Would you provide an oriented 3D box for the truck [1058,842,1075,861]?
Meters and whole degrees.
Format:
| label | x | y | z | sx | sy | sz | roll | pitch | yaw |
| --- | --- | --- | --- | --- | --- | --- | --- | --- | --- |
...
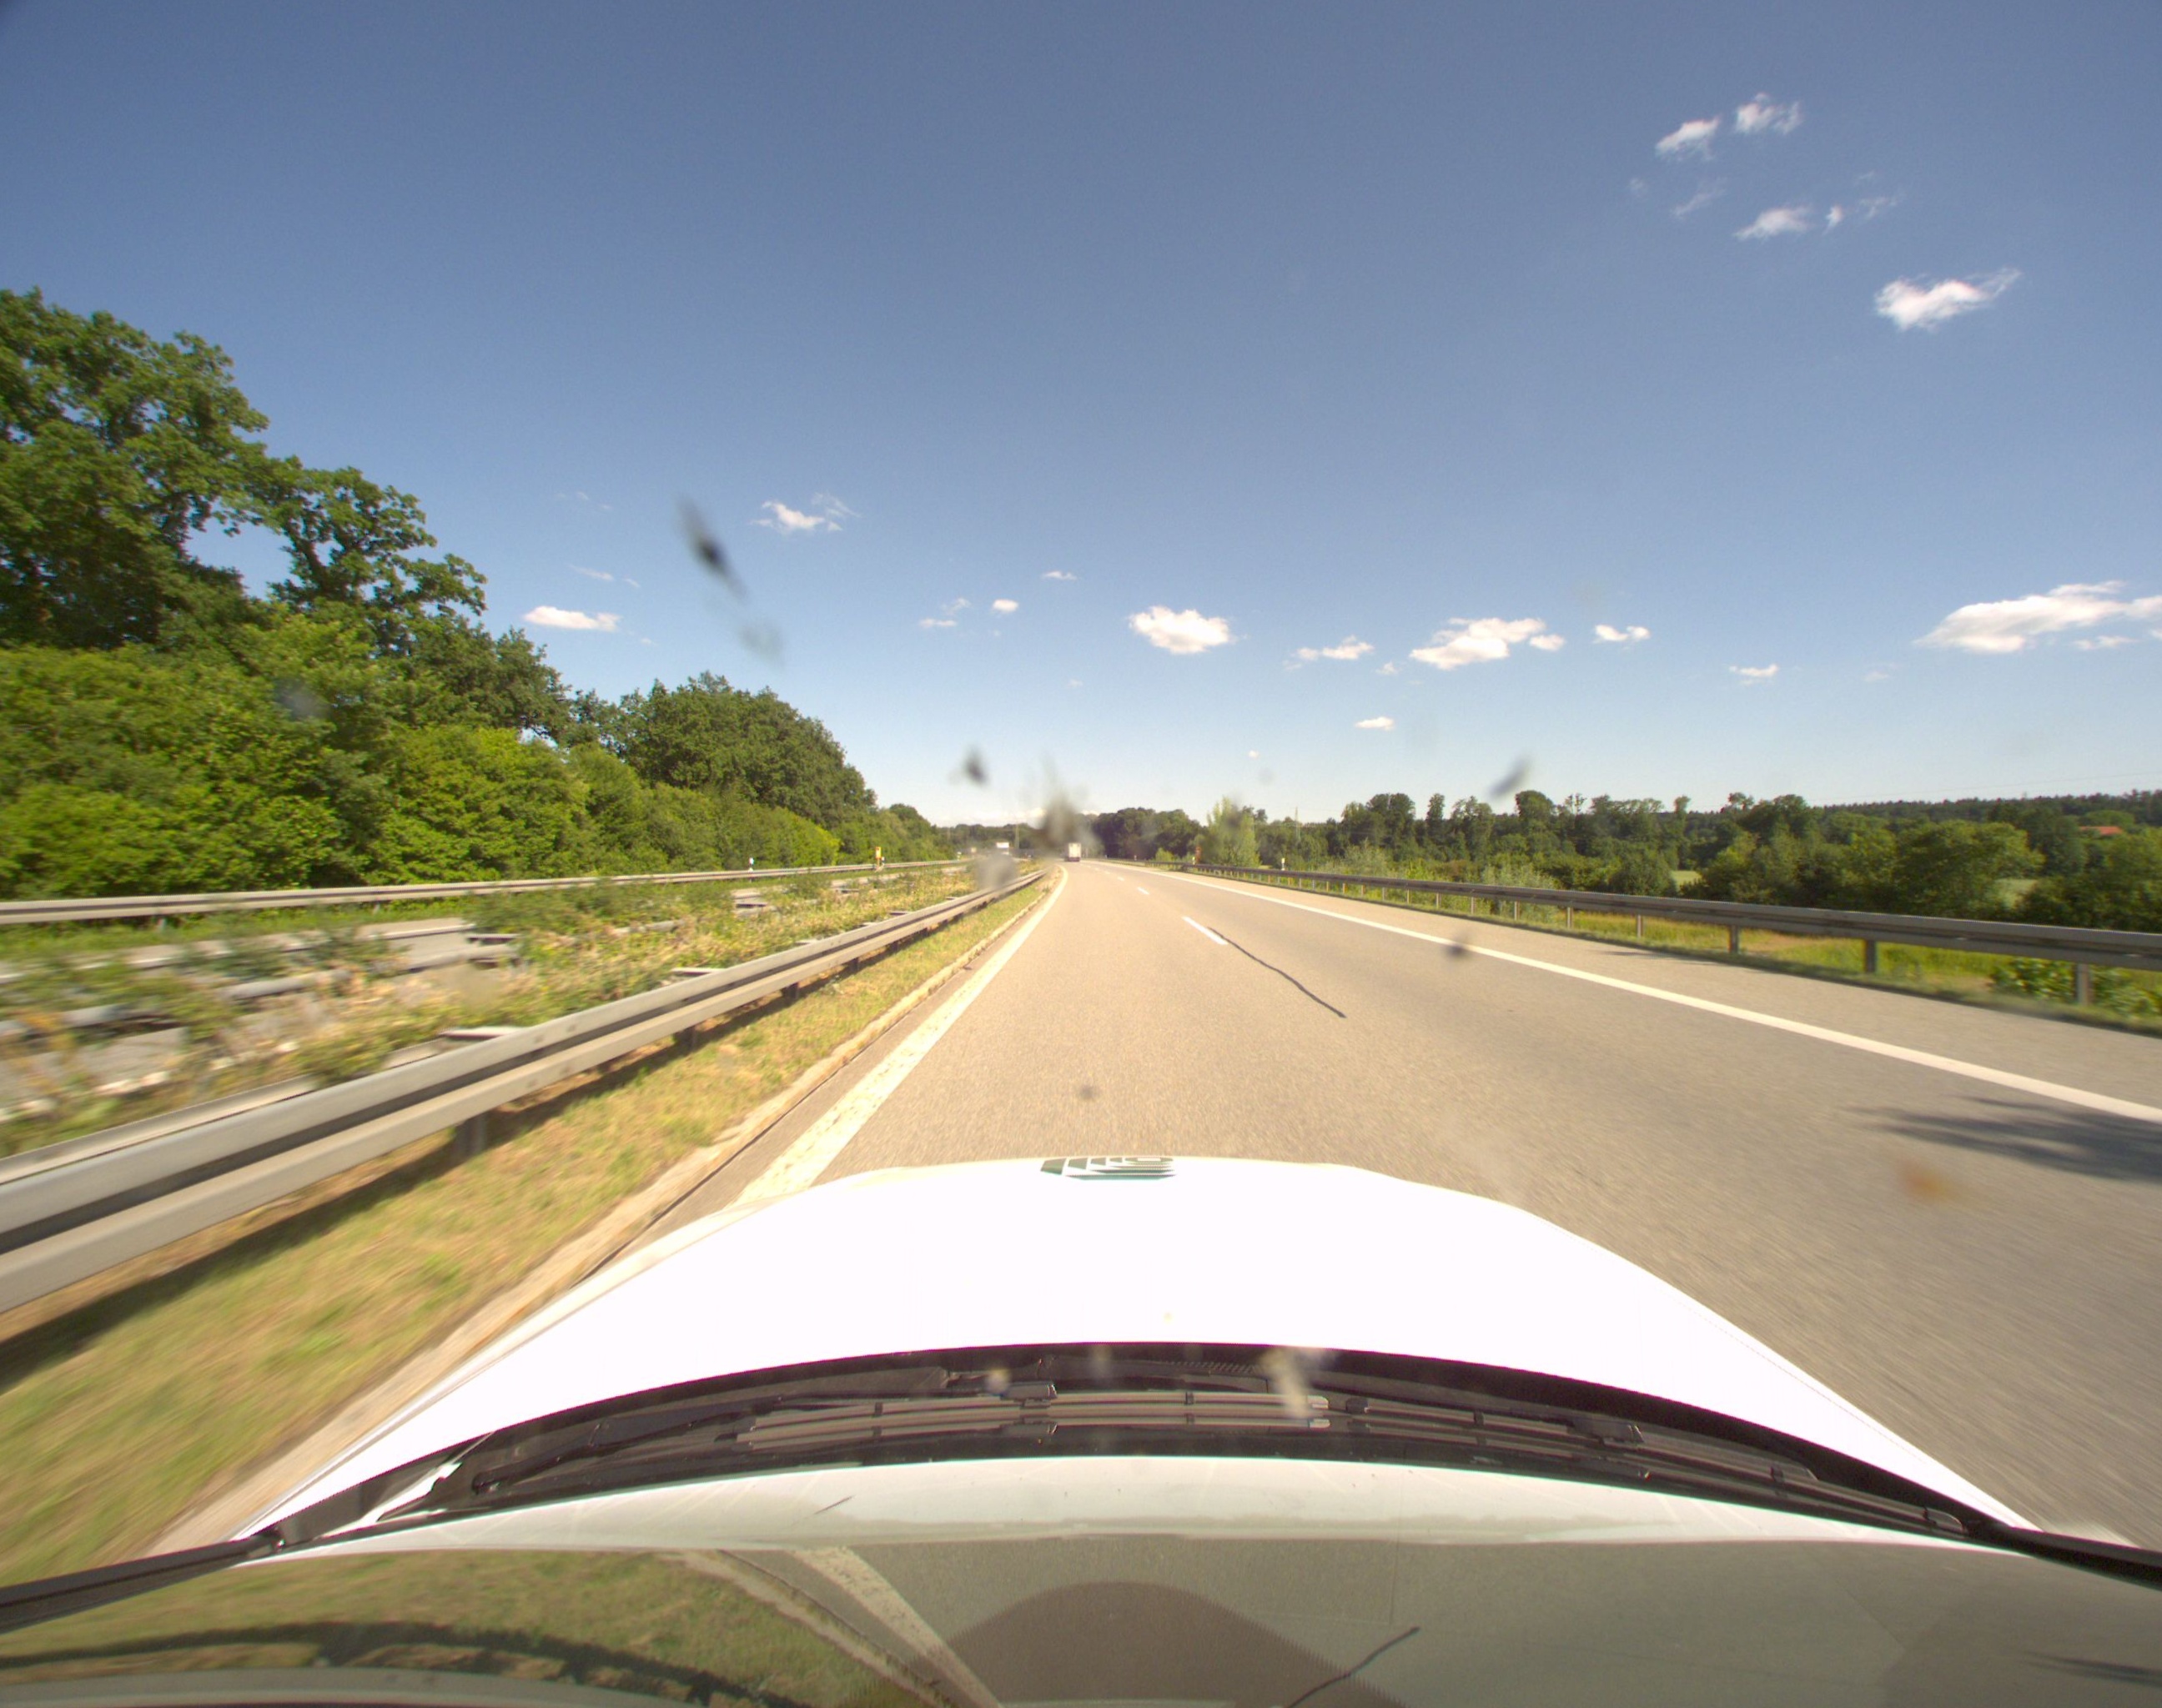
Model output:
| label | x | y | z | sx | sy | sz | roll | pitch | yaw |
| --- | --- | --- | --- | --- | --- | --- | --- | --- | --- |
| truck | -3.279 | -0.583 | 182.317 | 2.830 | 4.012 | 6.566 | -1 | 0 | -9 |

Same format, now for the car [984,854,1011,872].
| label | x | y | z | sx | sy | sz | roll | pitch | yaw |
| --- | --- | --- | --- | --- | --- | --- | --- | --- | --- |
| car | -7.017 | 0.715 | 68.534 | 1.722 | 1.428 | 3.882 | -2 | 0 | 2 |

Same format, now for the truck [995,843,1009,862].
| label | x | y | z | sx | sy | sz | roll | pitch | yaw |
| --- | --- | --- | --- | --- | --- | --- | --- | --- | --- |
| truck | -15.940 | -0.286 | 164.123 | 2.737 | 3.727 | 5.961 | -1 | 0 | -5 |

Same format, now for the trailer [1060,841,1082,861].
| label | x | y | z | sx | sy | sz | roll | pitch | yaw |
| --- | --- | --- | --- | --- | --- | --- | --- | --- | --- |
| trailer | -2.252 | -0.580 | 176.072 | 2.884 | 4.066 | 12.381 | -1 | 0 | -9 |
